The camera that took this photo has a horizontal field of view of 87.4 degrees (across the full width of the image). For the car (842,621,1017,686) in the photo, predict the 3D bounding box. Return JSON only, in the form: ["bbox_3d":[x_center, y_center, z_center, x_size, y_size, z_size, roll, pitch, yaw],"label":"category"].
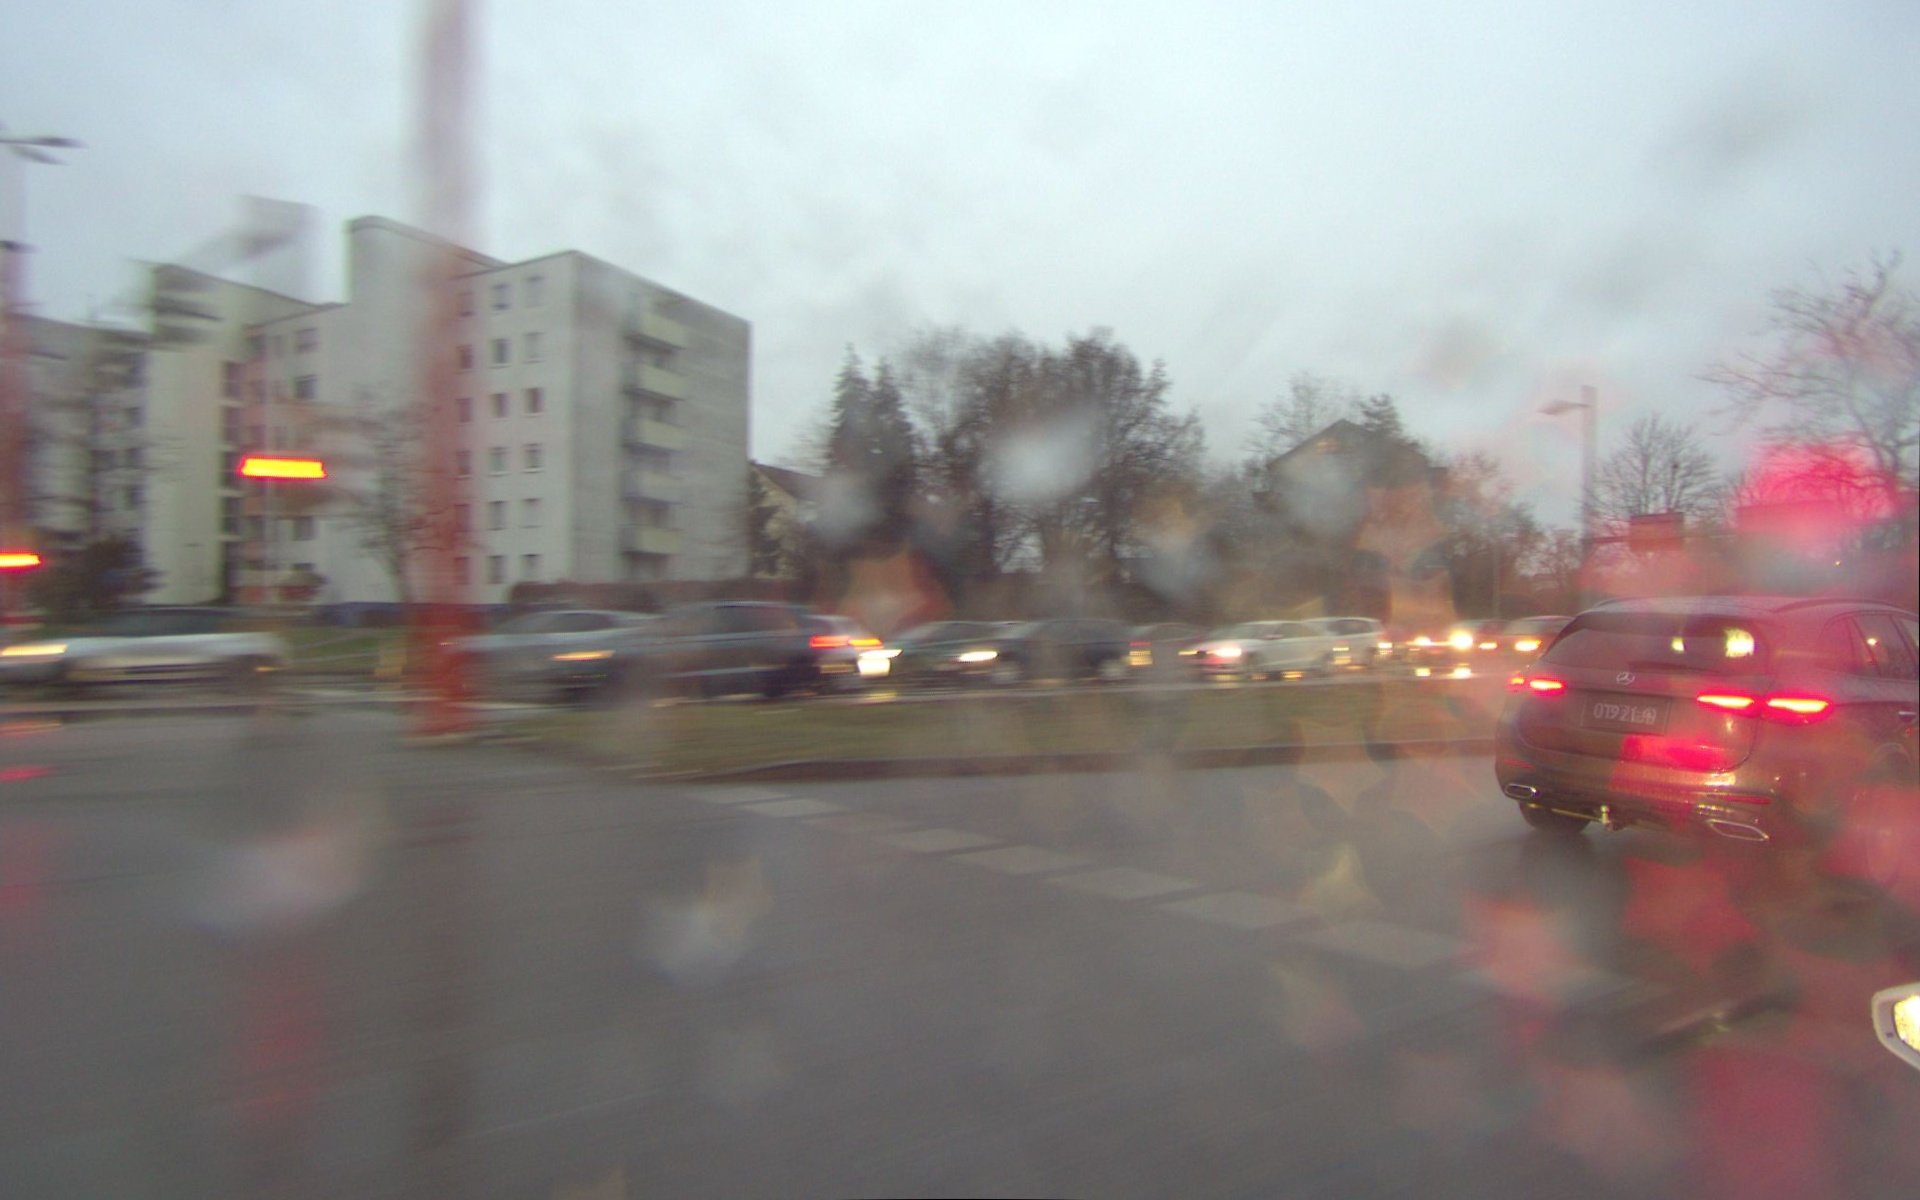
[{"bbox_3d":[-0.699,1.224,23.883,3.864,1.446,1.613,1,-1,-31],"label":"car"}]

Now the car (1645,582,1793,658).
[{"bbox_3d":[32.869,0.891,43.436,7.257,3.045,2.282,2,0,-29],"label":"car"}]

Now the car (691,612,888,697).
[{"bbox_3d":[-3.167,0.966,18.735,3.287,1.439,1.644,1,-1,-31],"label":"car"}]

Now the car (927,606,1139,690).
[{"bbox_3d":[1.577,0.972,21.368,4.237,1.620,1.848,1,-1,-31],"label":"car"}]

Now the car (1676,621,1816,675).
[{"bbox_3d":[24.081,1.424,30.735,4.784,1.557,1.761,1,-1,-31],"label":"car"}]

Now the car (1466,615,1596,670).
[{"bbox_3d":[17.582,1.276,30.879,3.986,1.607,1.761,1,-1,-31],"label":"car"}]

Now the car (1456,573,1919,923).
[{"bbox_3d":[5.511,0.764,6.687,4.412,1.670,1.814,1,-1,-29],"label":"car"}]

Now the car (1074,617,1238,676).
[{"bbox_3d":[5.393,1.223,27.510,4.388,1.515,1.761,1,-1,-31],"label":"car"}]

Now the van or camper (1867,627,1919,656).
[{"bbox_3d":[51.459,2.264,54.498,5.097,1.466,1.895,1,-1,-30],"label":"van or camper"}]

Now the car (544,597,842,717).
[{"bbox_3d":[-4.017,0.805,15.278,4.034,1.603,1.847,1,-1,-32],"label":"car"}]

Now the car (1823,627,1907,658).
[{"bbox_3d":[45.470,2.116,50.459,4.390,1.466,1.895,1,-1,-30],"label":"car"}]

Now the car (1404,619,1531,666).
[{"bbox_3d":[17.586,1.439,34.767,4.596,1.509,1.761,1,-1,-31],"label":"car"}]

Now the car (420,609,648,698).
[{"bbox_3d":[-8.285,0.996,19.614,3.902,1.574,1.761,1,-1,-31],"label":"car"}]

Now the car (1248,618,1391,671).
[{"bbox_3d":[10.992,1.318,30.653,4.388,1.515,1.761,1,-1,-31],"label":"car"}]

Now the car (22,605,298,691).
[{"bbox_3d":[-15.293,0.892,19.491,3.971,1.515,1.610,1,-1,-31],"label":"car"}]

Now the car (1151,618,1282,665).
[{"bbox_3d":[8.720,1.379,34.077,4.388,1.515,1.761,1,-1,-31],"label":"car"}]

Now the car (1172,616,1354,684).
[{"bbox_3d":[7.488,1.183,24.730,4.472,1.553,1.761,1,-1,-31],"label":"car"}]
